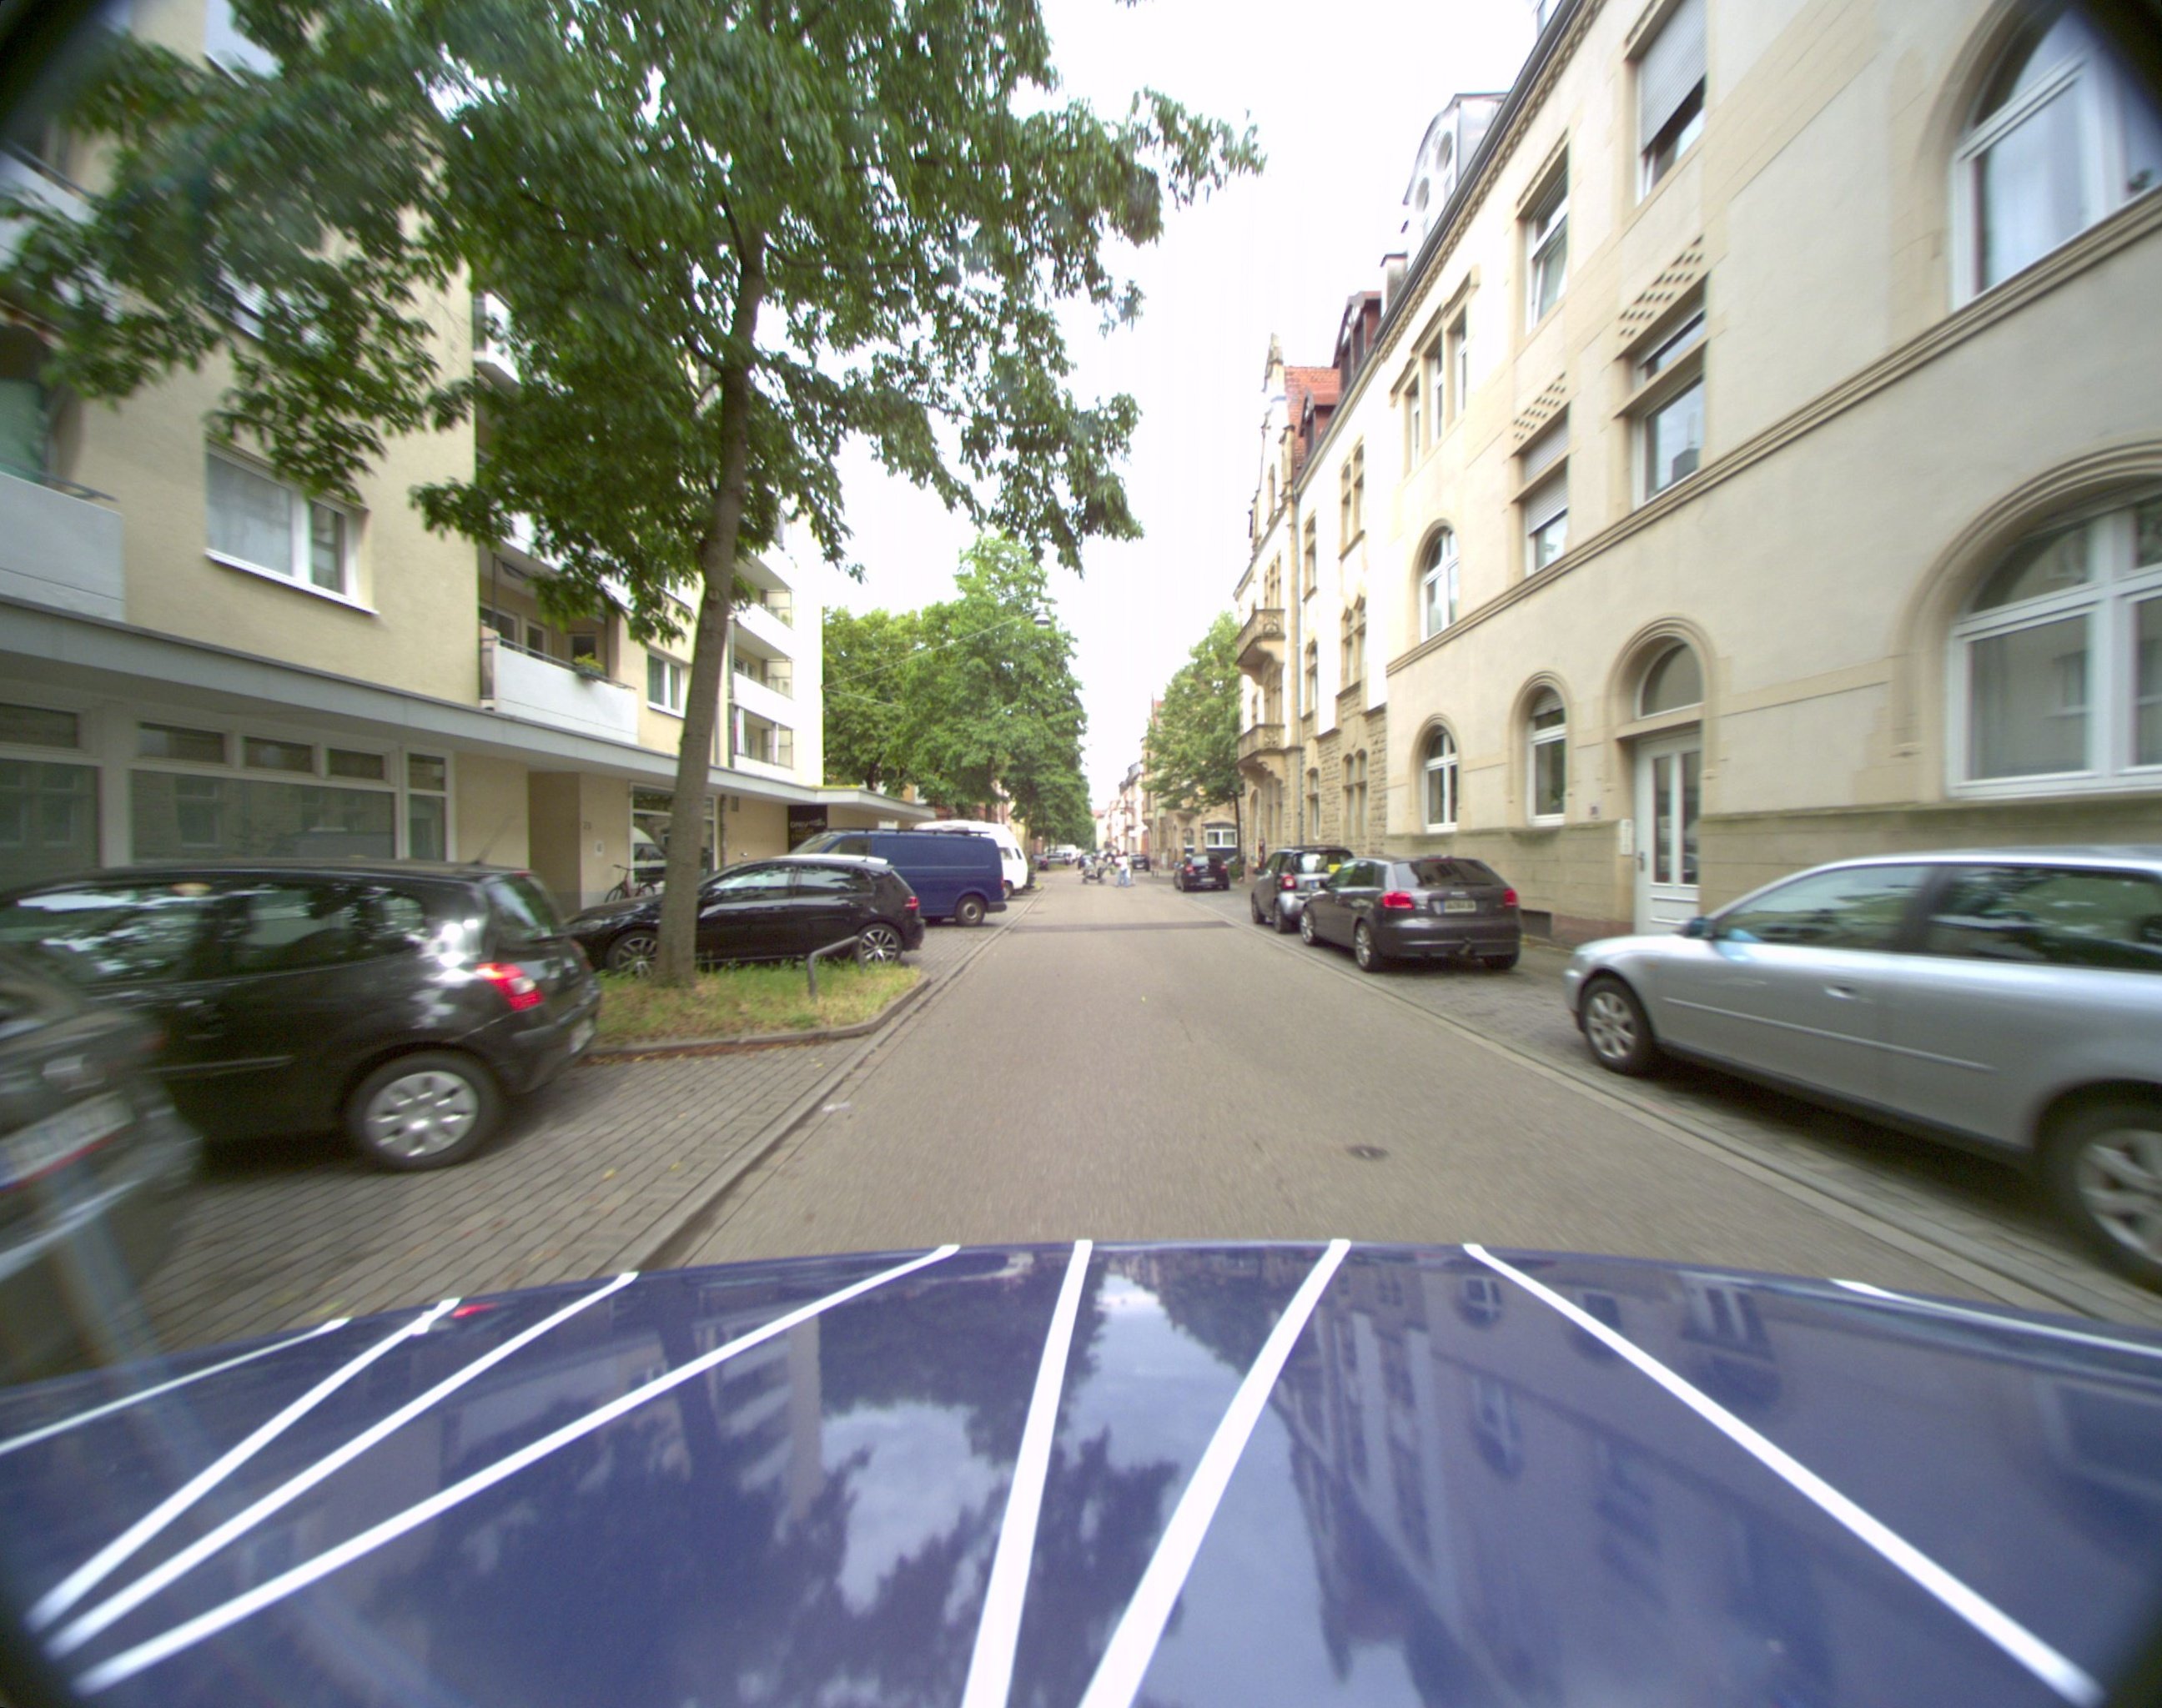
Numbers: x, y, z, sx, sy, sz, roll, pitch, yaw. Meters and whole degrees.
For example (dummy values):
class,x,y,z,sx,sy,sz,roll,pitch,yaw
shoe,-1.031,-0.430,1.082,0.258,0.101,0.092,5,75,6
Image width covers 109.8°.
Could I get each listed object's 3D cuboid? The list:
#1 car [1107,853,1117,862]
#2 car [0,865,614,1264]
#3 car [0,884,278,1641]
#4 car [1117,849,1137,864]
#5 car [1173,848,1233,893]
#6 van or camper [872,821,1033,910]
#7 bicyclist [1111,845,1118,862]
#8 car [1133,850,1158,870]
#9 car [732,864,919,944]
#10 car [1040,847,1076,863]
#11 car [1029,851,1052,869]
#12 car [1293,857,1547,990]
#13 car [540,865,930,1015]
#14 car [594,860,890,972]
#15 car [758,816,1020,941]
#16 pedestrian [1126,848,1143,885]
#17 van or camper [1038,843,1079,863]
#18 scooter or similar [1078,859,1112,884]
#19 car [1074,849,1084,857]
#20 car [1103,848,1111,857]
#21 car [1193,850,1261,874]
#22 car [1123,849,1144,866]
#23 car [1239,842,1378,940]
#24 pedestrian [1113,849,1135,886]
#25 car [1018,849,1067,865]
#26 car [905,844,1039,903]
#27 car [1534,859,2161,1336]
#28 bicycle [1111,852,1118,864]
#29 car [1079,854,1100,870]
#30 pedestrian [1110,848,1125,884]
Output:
class,x,y,z,sx,sy,sz,roll,pitch,yaw
car,5.021,0.557,123.431,1.610,1.463,3.342,-1,1,0
car,-4.469,0.836,3.821,3.374,1.488,1.848,0,1,-24
car,-4.361,0.859,0.961,4.235,1.492,1.970,1,1,-32
car,4.832,0.207,79.996,1.671,1.502,3.552,-2,1,-4
car,4.563,0.570,28.910,1.713,1.486,4.000,-4,0,2
van or camper,-4.036,0.284,24.094,4.604,2.581,1.906,-2,1,-32
bicyclist,3.006,-0.022,68.853,0.649,1.529,0.677,0,1,3
car,5.052,0.452,59.814,1.731,1.425,3.882,-2,0,3
car,-5.789,1.048,17.333,3.674,1.472,1.684,-2,1,-34
car,-2.724,0.139,91.993,3.993,1.801,1.721,-1,1,12
car,-3.533,0.496,66.697,1.768,1.477,4.479,1,0,1
car,4.213,0.759,10.189,1.730,1.378,3.929,-2,0,2
car,-4.195,0.901,9.573,4.120,1.434,1.848,-1,1,-31
car,-5.153,0.857,11.919,3.919,1.457,1.821,0,1,-24
car,-3.826,0.470,15.527,4.716,2.183,2.061,2,0,-37
pedestrian,2.397,0.577,34.090,0.617,1.634,0.604,-1,1,13
van or camper,-3.018,-0.138,102.878,5.077,2.576,2.069,-2,1,-30
scooter or similar,0.653,0.804,35.192,1.471,1.098,0.676,1,1,12
car,-0.390,-0.335,174.023,1.998,1.740,4.000,-1,0,3
car,6.497,-0.326,189.296,2.052,2.071,3.811,-2,0,2
car,9.506,0.523,49.802,4.279,1.459,1.662,0,4,7
car,4.787,0.339,70.049,1.593,1.425,3.809,-2,0,-1
car,4.172,0.645,14.382,1.650,1.561,2.957,-4,0,0
pedestrian,1.886,0.598,33.083,0.630,1.584,0.671,-1,1,42
car,-3.719,0.267,73.673,4.453,1.419,1.754,1,1,-33
car,-3.876,0.643,27.061,4.351,1.843,1.907,-2,1,-24
car,4.202,0.770,3.518,1.730,1.378,4.136,-2,0,0
bicycle,3.020,0.338,68.929,0.635,1.087,1.800,0,0,3
car,0.794,0.735,69.928,1.712,1.404,3.855,-1,-2,4
pedestrian,1.682,0.550,35.081,0.528,1.634,0.529,-2,1,11
